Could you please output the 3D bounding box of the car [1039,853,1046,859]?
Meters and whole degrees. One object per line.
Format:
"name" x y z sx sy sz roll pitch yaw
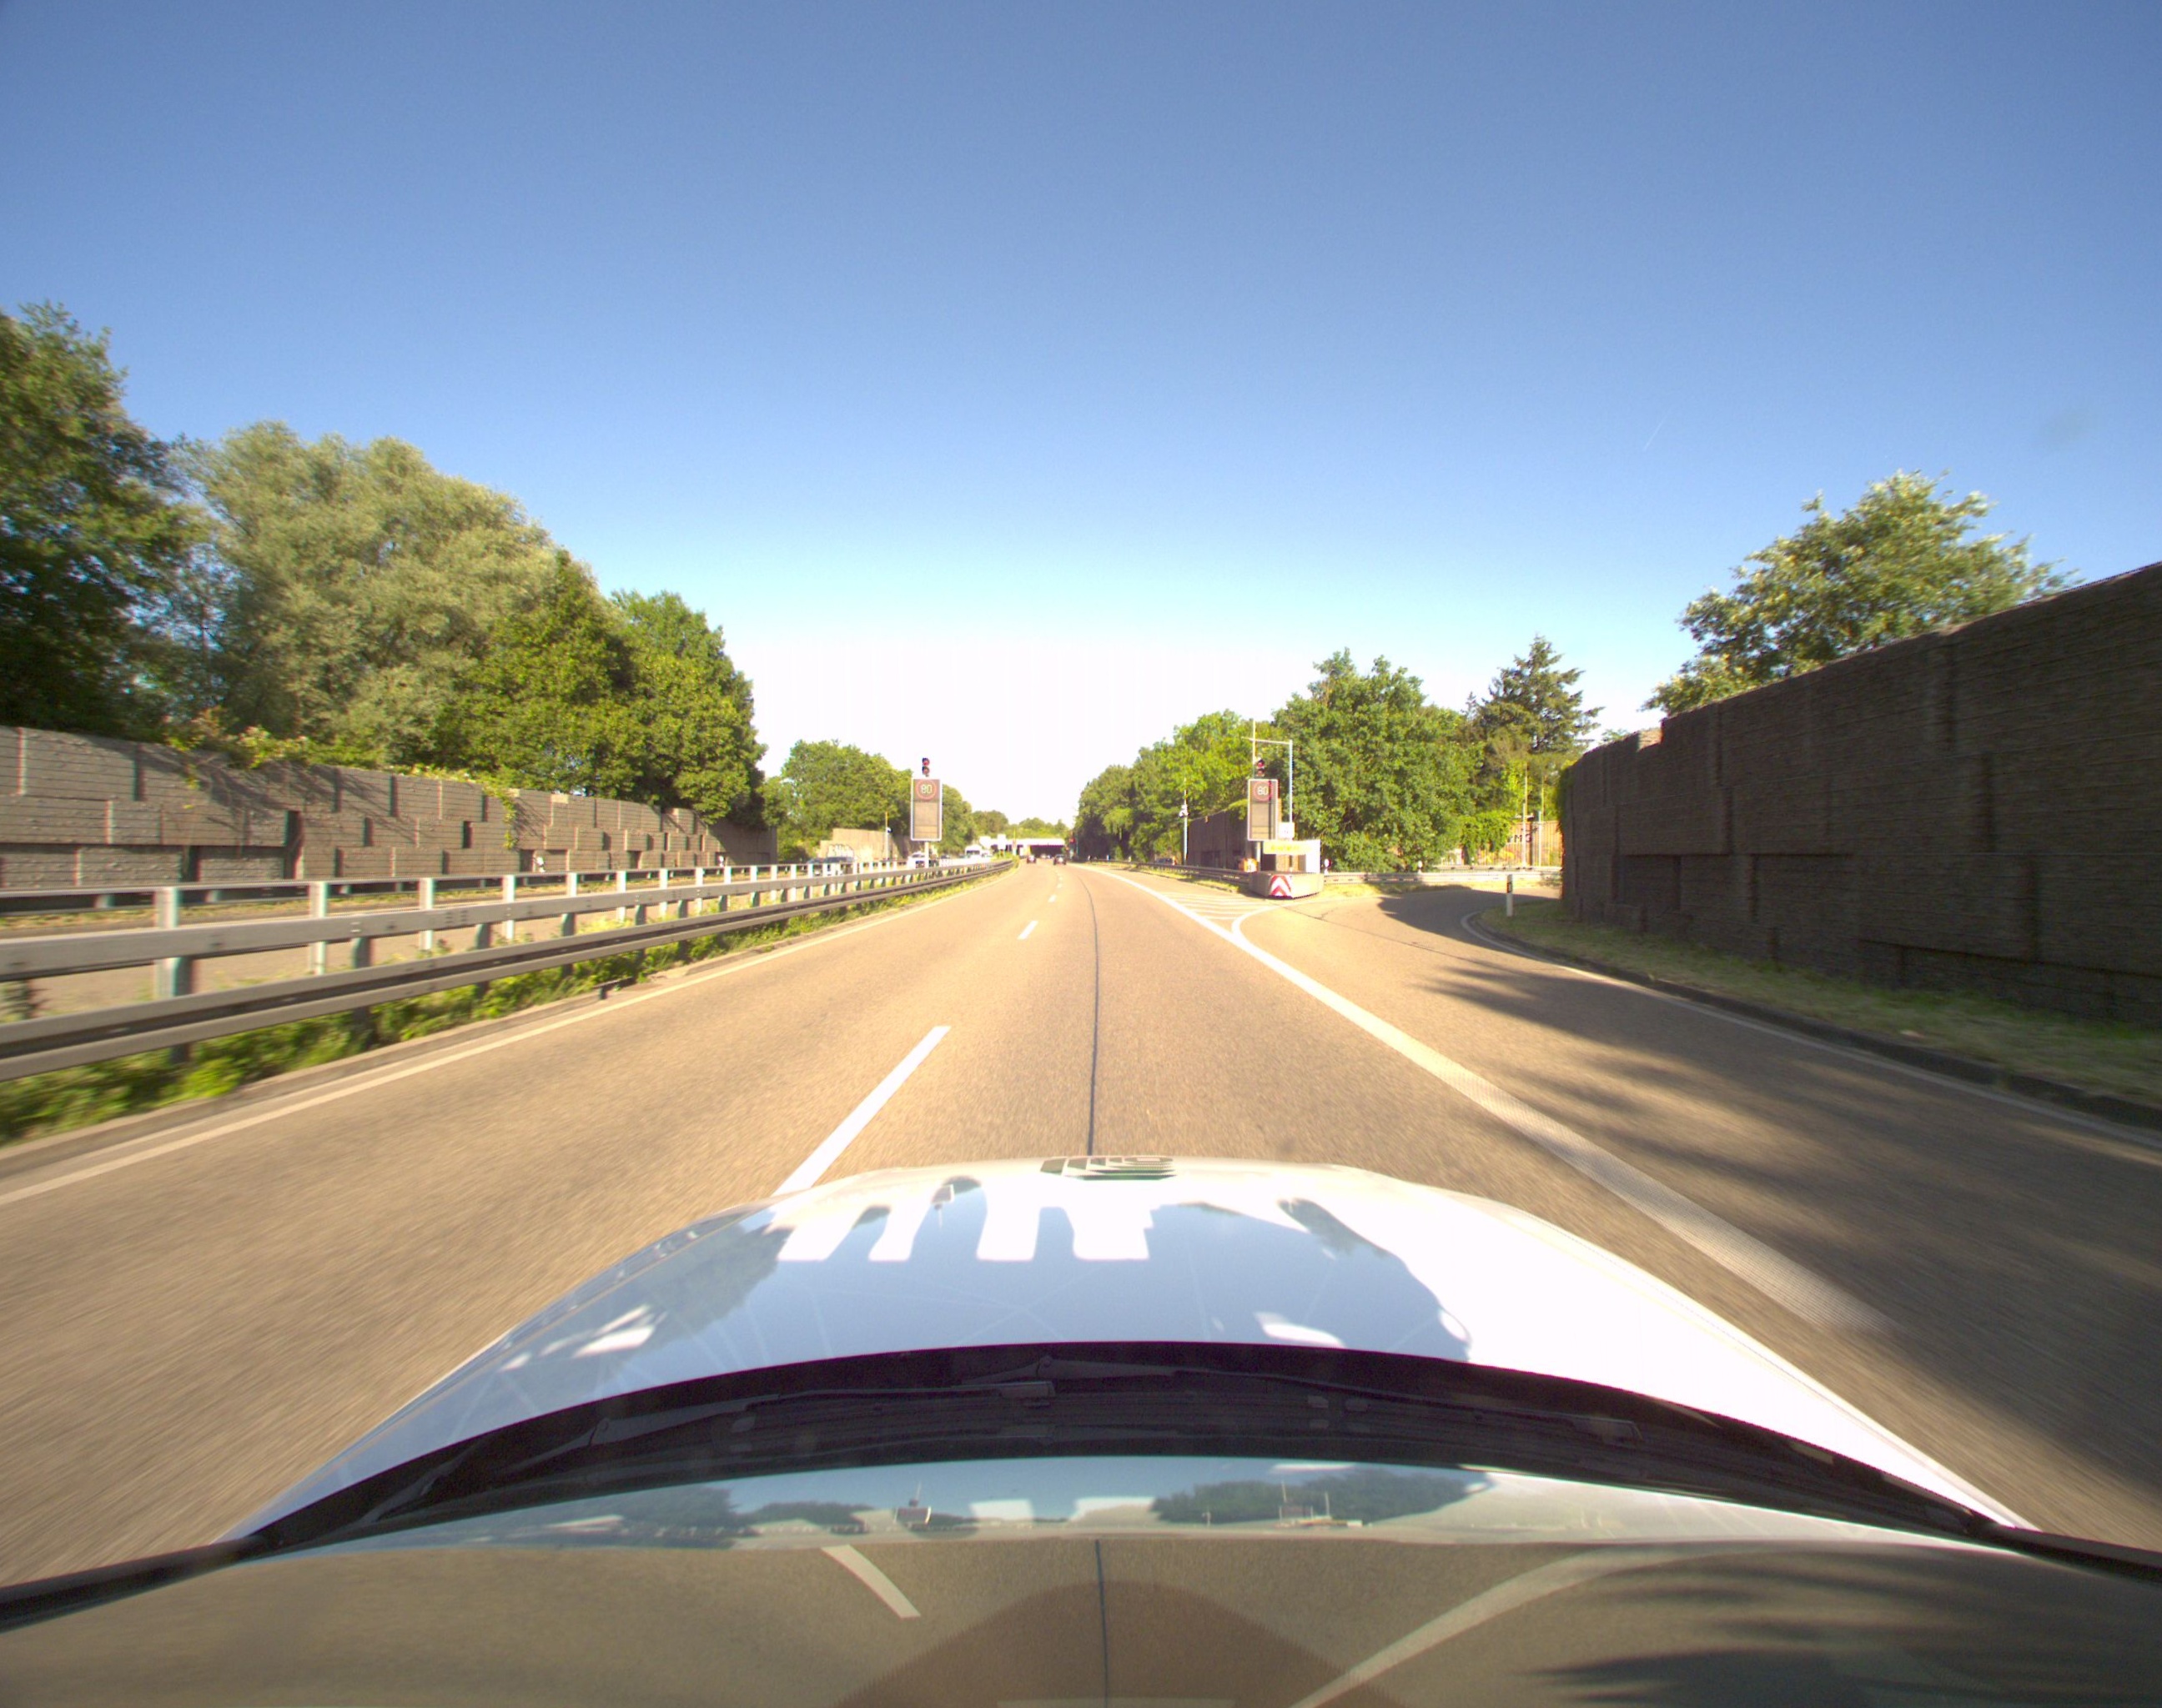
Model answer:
"car" -11.762 0.547 249.024 1.990 1.925 3.993 1 0 -5

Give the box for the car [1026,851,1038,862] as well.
"car" -8.688 0.442 144.172 1.990 1.925 3.993 1 0 -5

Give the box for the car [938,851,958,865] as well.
"car" -17.432 0.501 107.121 1.896 1.620 4.693 2 1 -2

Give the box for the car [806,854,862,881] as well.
"car" -14.864 0.785 49.354 1.987 1.480 4.533 2 1 0

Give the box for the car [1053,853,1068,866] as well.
"car" -3.068 0.802 119.856 1.990 1.925 3.993 1 0 -5

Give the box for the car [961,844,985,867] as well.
"car" -13.410 0.178 101.716 2.114 2.683 6.586 2 1 0

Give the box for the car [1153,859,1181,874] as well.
"car" 9.623 1.408 91.074 1.671 1.552 3.977 2 1 -17

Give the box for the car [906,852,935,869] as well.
"car" -16.171 0.613 82.143 1.987 1.596 4.620 2 1 0

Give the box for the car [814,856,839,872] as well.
"car" -24.816 0.970 79.319 2.001 1.388 4.001 2 1 -21
